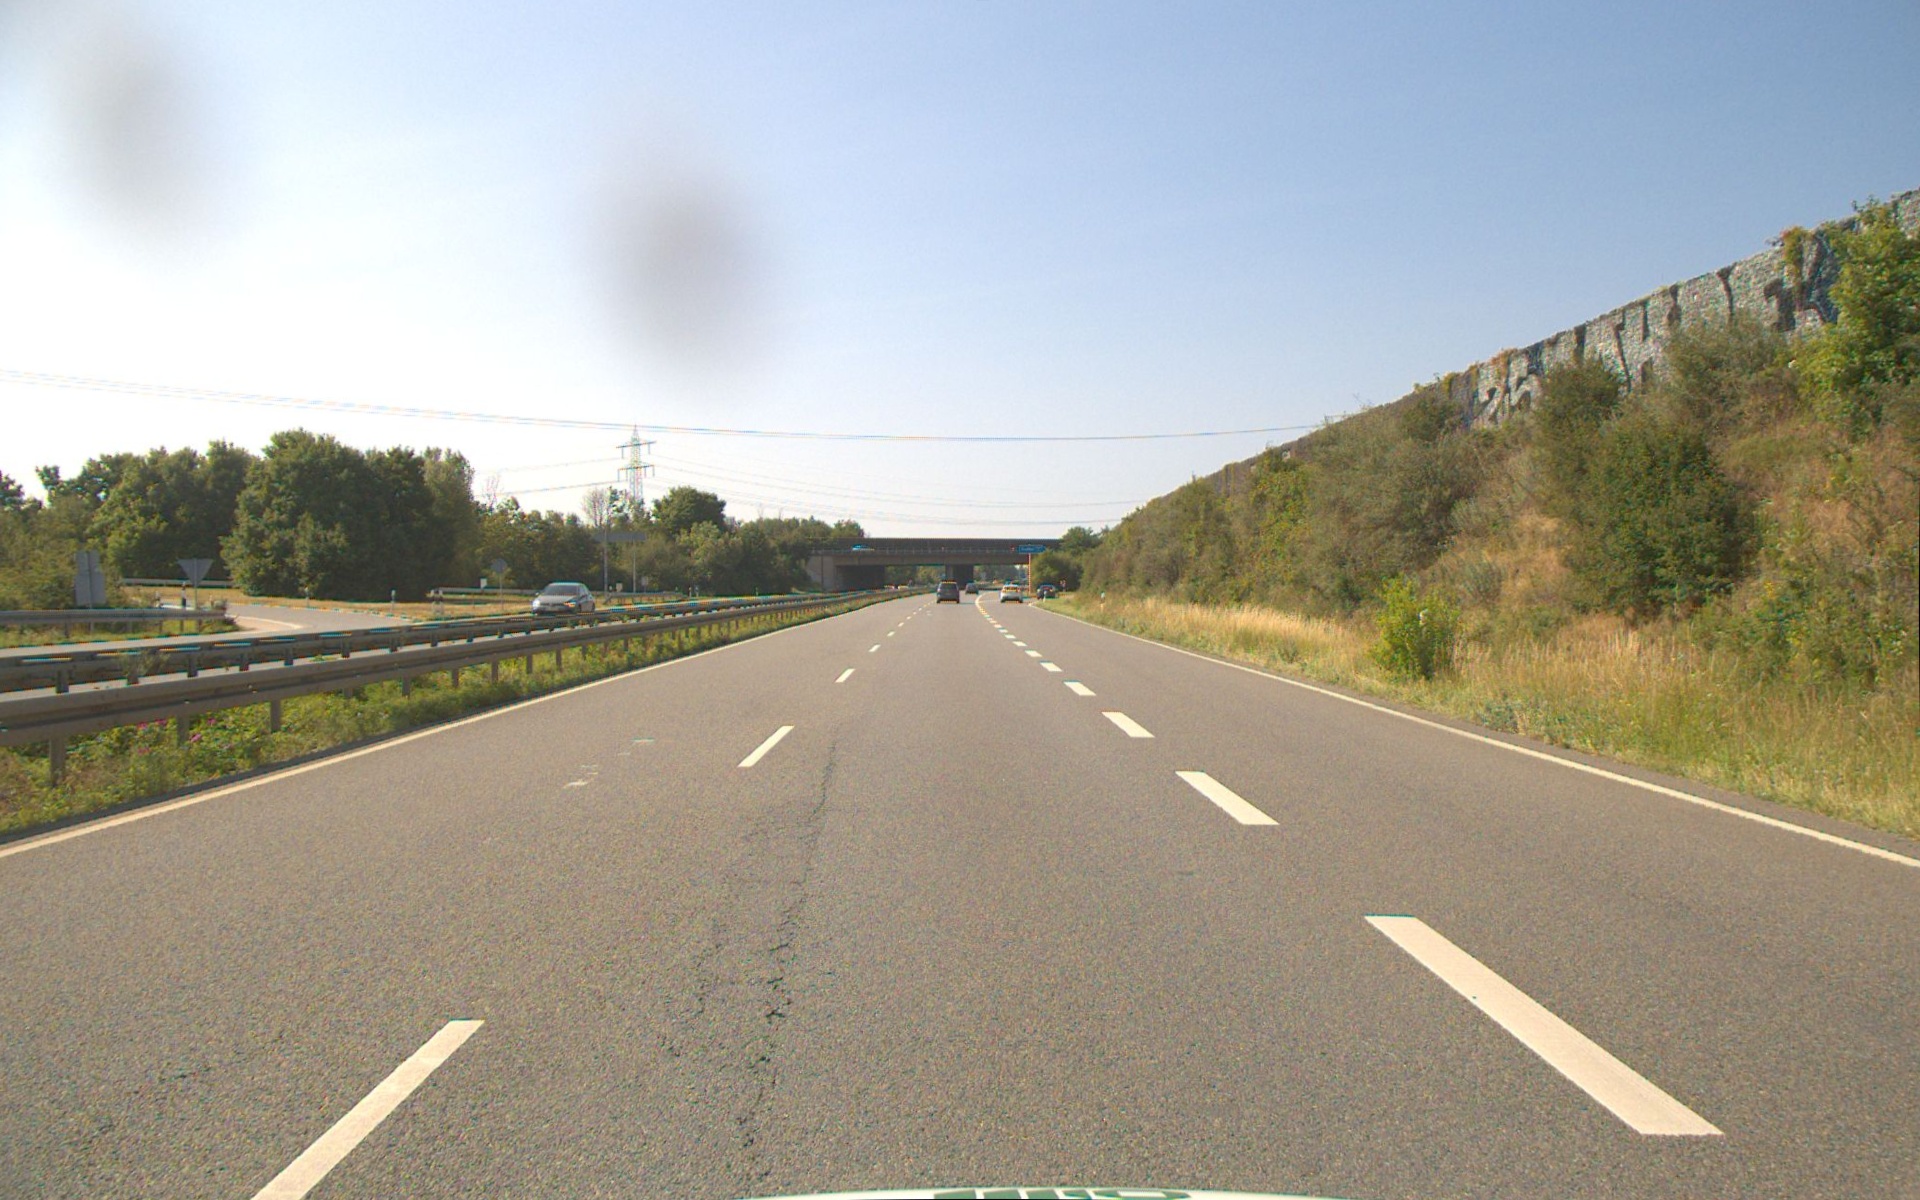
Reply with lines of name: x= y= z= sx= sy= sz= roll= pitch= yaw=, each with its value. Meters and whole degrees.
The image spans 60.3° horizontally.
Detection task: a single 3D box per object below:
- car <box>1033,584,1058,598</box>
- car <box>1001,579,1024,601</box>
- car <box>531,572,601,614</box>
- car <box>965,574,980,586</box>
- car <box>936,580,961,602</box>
car: x=8.712 y=-0.895 z=167.622 sx=1.861 sy=1.320 sz=4.004 roll=2 pitch=1 yaw=12
car: x=4.296 y=-0.803 z=135.664 sx=1.759 sy=1.694 sz=4.002 roll=2 pitch=1 yaw=3
car: x=-15.265 y=-0.307 z=64.294 sx=1.666 sy=1.511 sz=4.619 roll=2 pitch=1 yaw=-1
car: x=1.633 y=-2.628 z=217.153 sx=1.811 sy=1.673 sz=4.001 roll=0 pitch=1 yaw=2
car: x=-0.867 y=-0.731 z=128.790 sx=1.811 sy=1.673 sz=4.001 roll=0 pitch=1 yaw=2
